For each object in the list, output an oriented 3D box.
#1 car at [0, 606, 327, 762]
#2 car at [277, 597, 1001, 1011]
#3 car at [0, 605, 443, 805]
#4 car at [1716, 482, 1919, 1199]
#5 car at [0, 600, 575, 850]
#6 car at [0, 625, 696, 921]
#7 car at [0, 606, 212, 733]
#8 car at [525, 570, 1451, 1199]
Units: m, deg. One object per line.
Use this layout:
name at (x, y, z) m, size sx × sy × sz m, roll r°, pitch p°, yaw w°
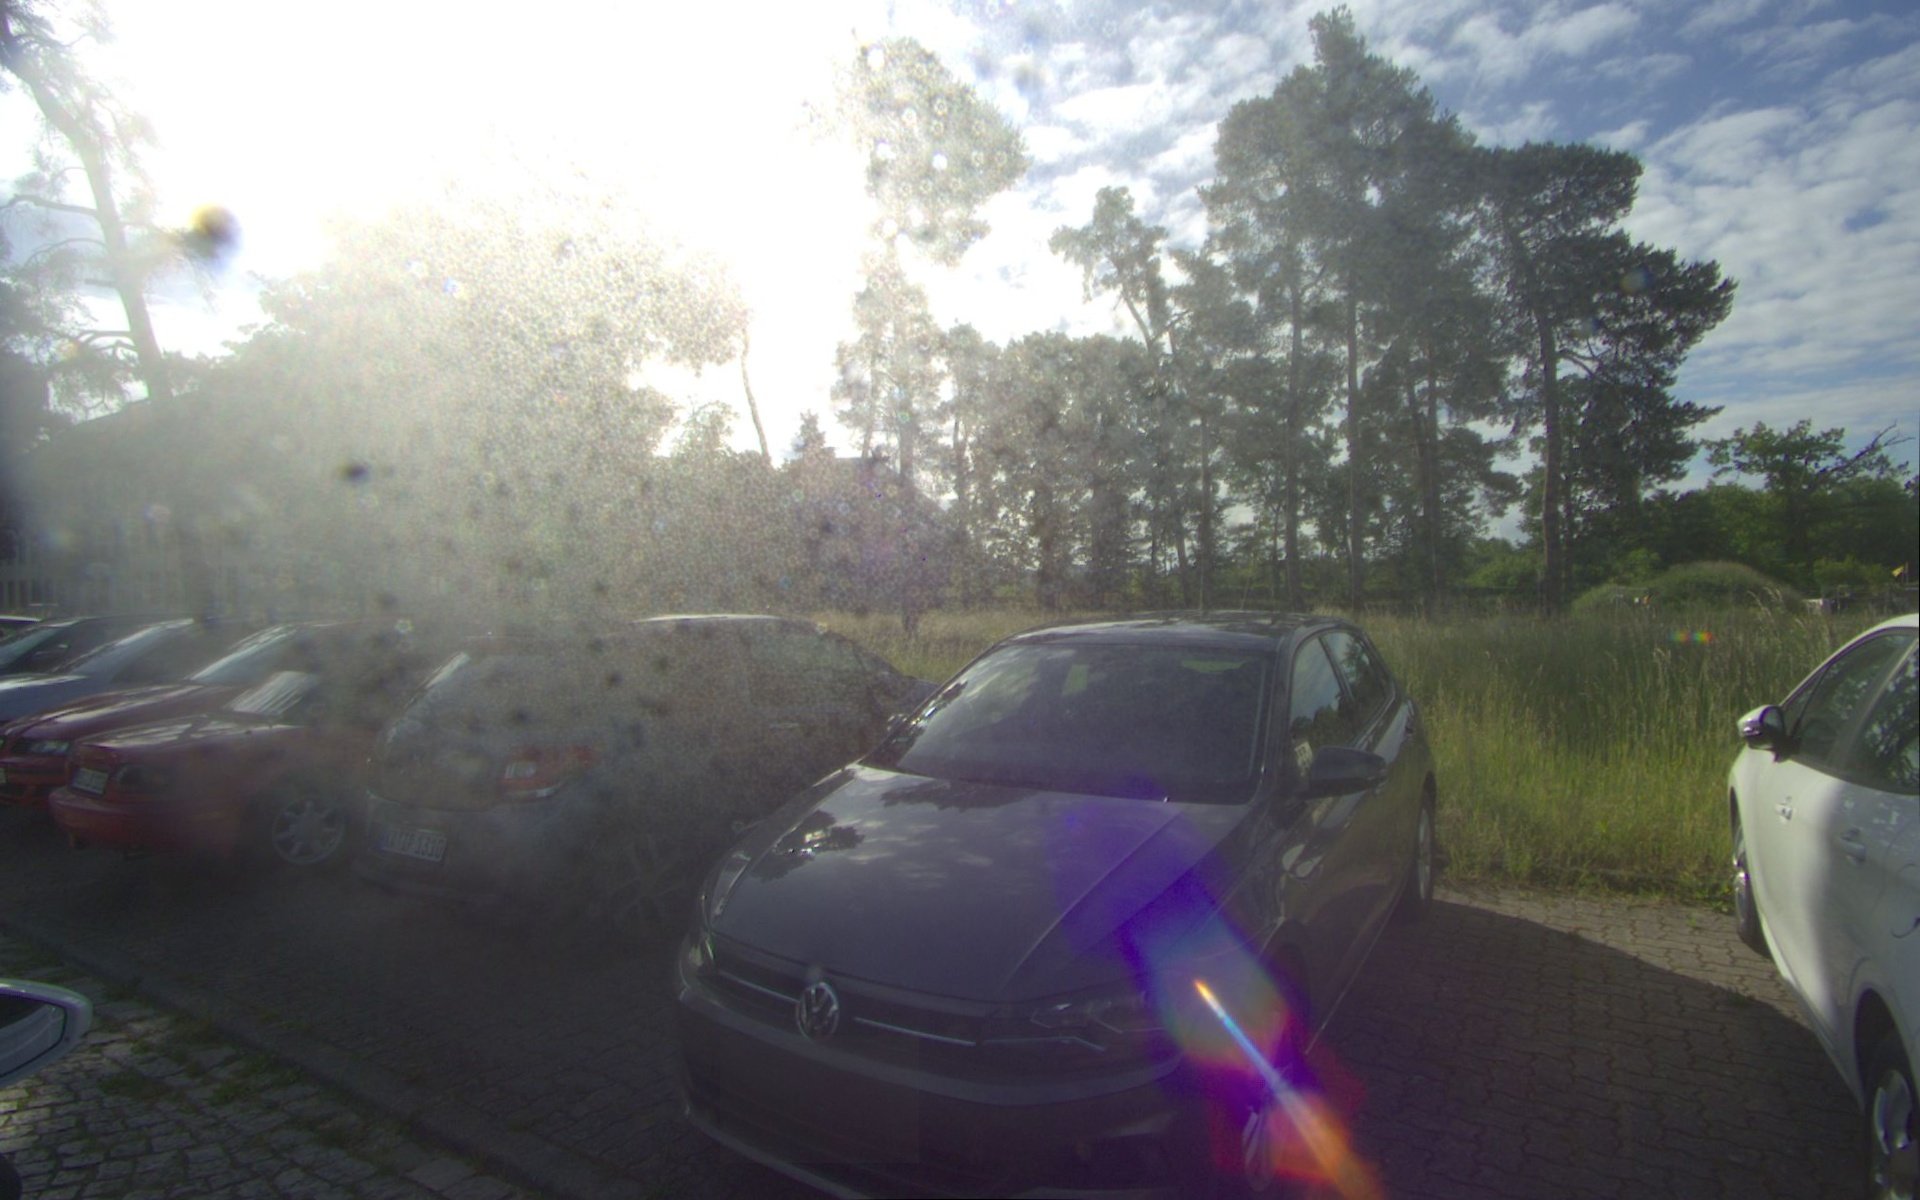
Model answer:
car at (-9.697, 0.852, 10.837) m, size 1.613 × 1.434 × 4.548 m, roll 0°, pitch 2°, yaw 32°
car at (-1.457, 0.765, 5.797) m, size 1.790 × 1.469 × 3.698 m, roll 0°, pitch 2°, yaw 32°
car at (-7.478, 0.839, 9.337) m, size 1.755 × 1.434 × 4.420 m, roll 0°, pitch 2°, yaw 33°
car at (3.438, 0.510, 2.855) m, size 1.736 × 1.555 × 3.697 m, roll 0°, pitch 2°, yaw 33°
car at (-5.552, 0.792, 8.472) m, size 1.613 × 1.469 × 4.117 m, roll 0°, pitch 2°, yaw 33°
car at (-3.817, 0.887, 6.859) m, size 1.721 × 1.240 × 3.697 m, roll 0°, pitch 2°, yaw 33°
car at (-11.927, 0.852, 12.440) m, size 1.613 × 1.434 × 3.872 m, roll 0°, pitch 2°, yaw 33°
car at (0.603, 0.642, 3.758) m, size 1.830 × 1.469 × 3.697 m, roll 0°, pitch 2°, yaw 33°
